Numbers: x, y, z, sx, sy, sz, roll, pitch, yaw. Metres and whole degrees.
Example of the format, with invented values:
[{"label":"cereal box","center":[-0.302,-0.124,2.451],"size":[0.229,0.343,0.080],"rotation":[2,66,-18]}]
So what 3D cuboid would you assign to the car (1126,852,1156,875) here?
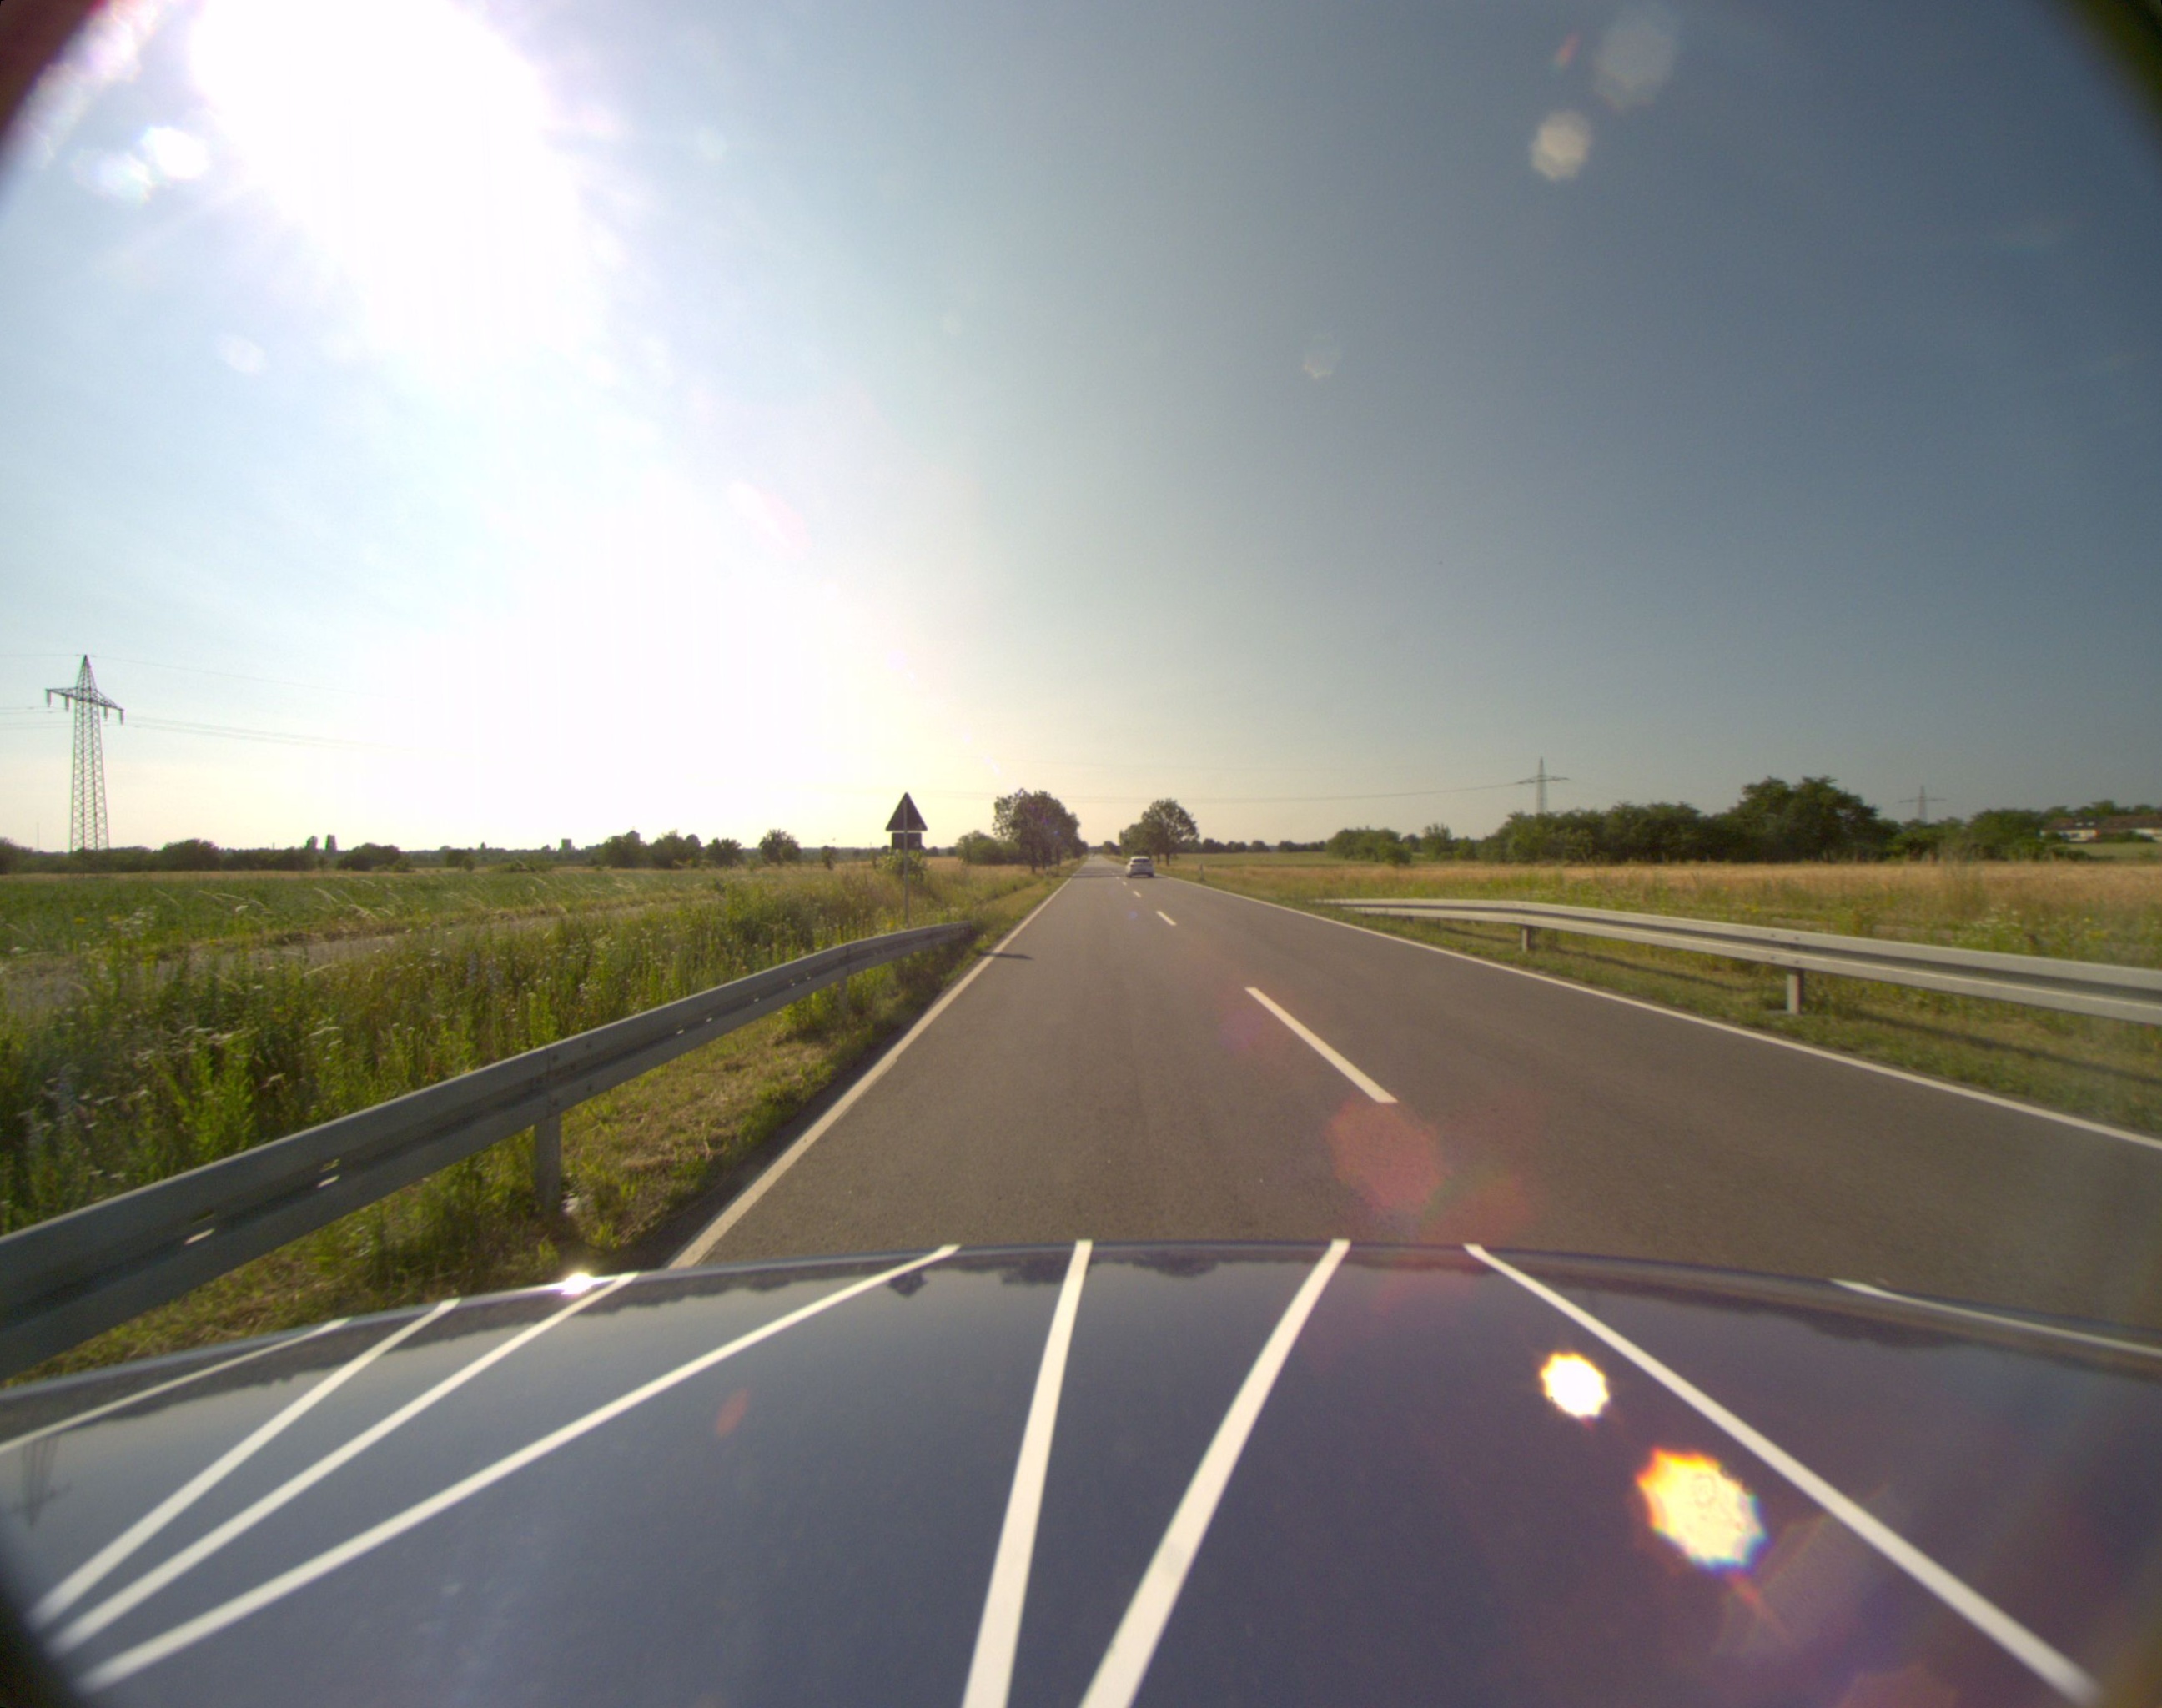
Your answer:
[{"label":"car","center":[4.141,0.635,53.073],"size":[1.731,1.429,4.516],"rotation":[-1,1,1]}]
